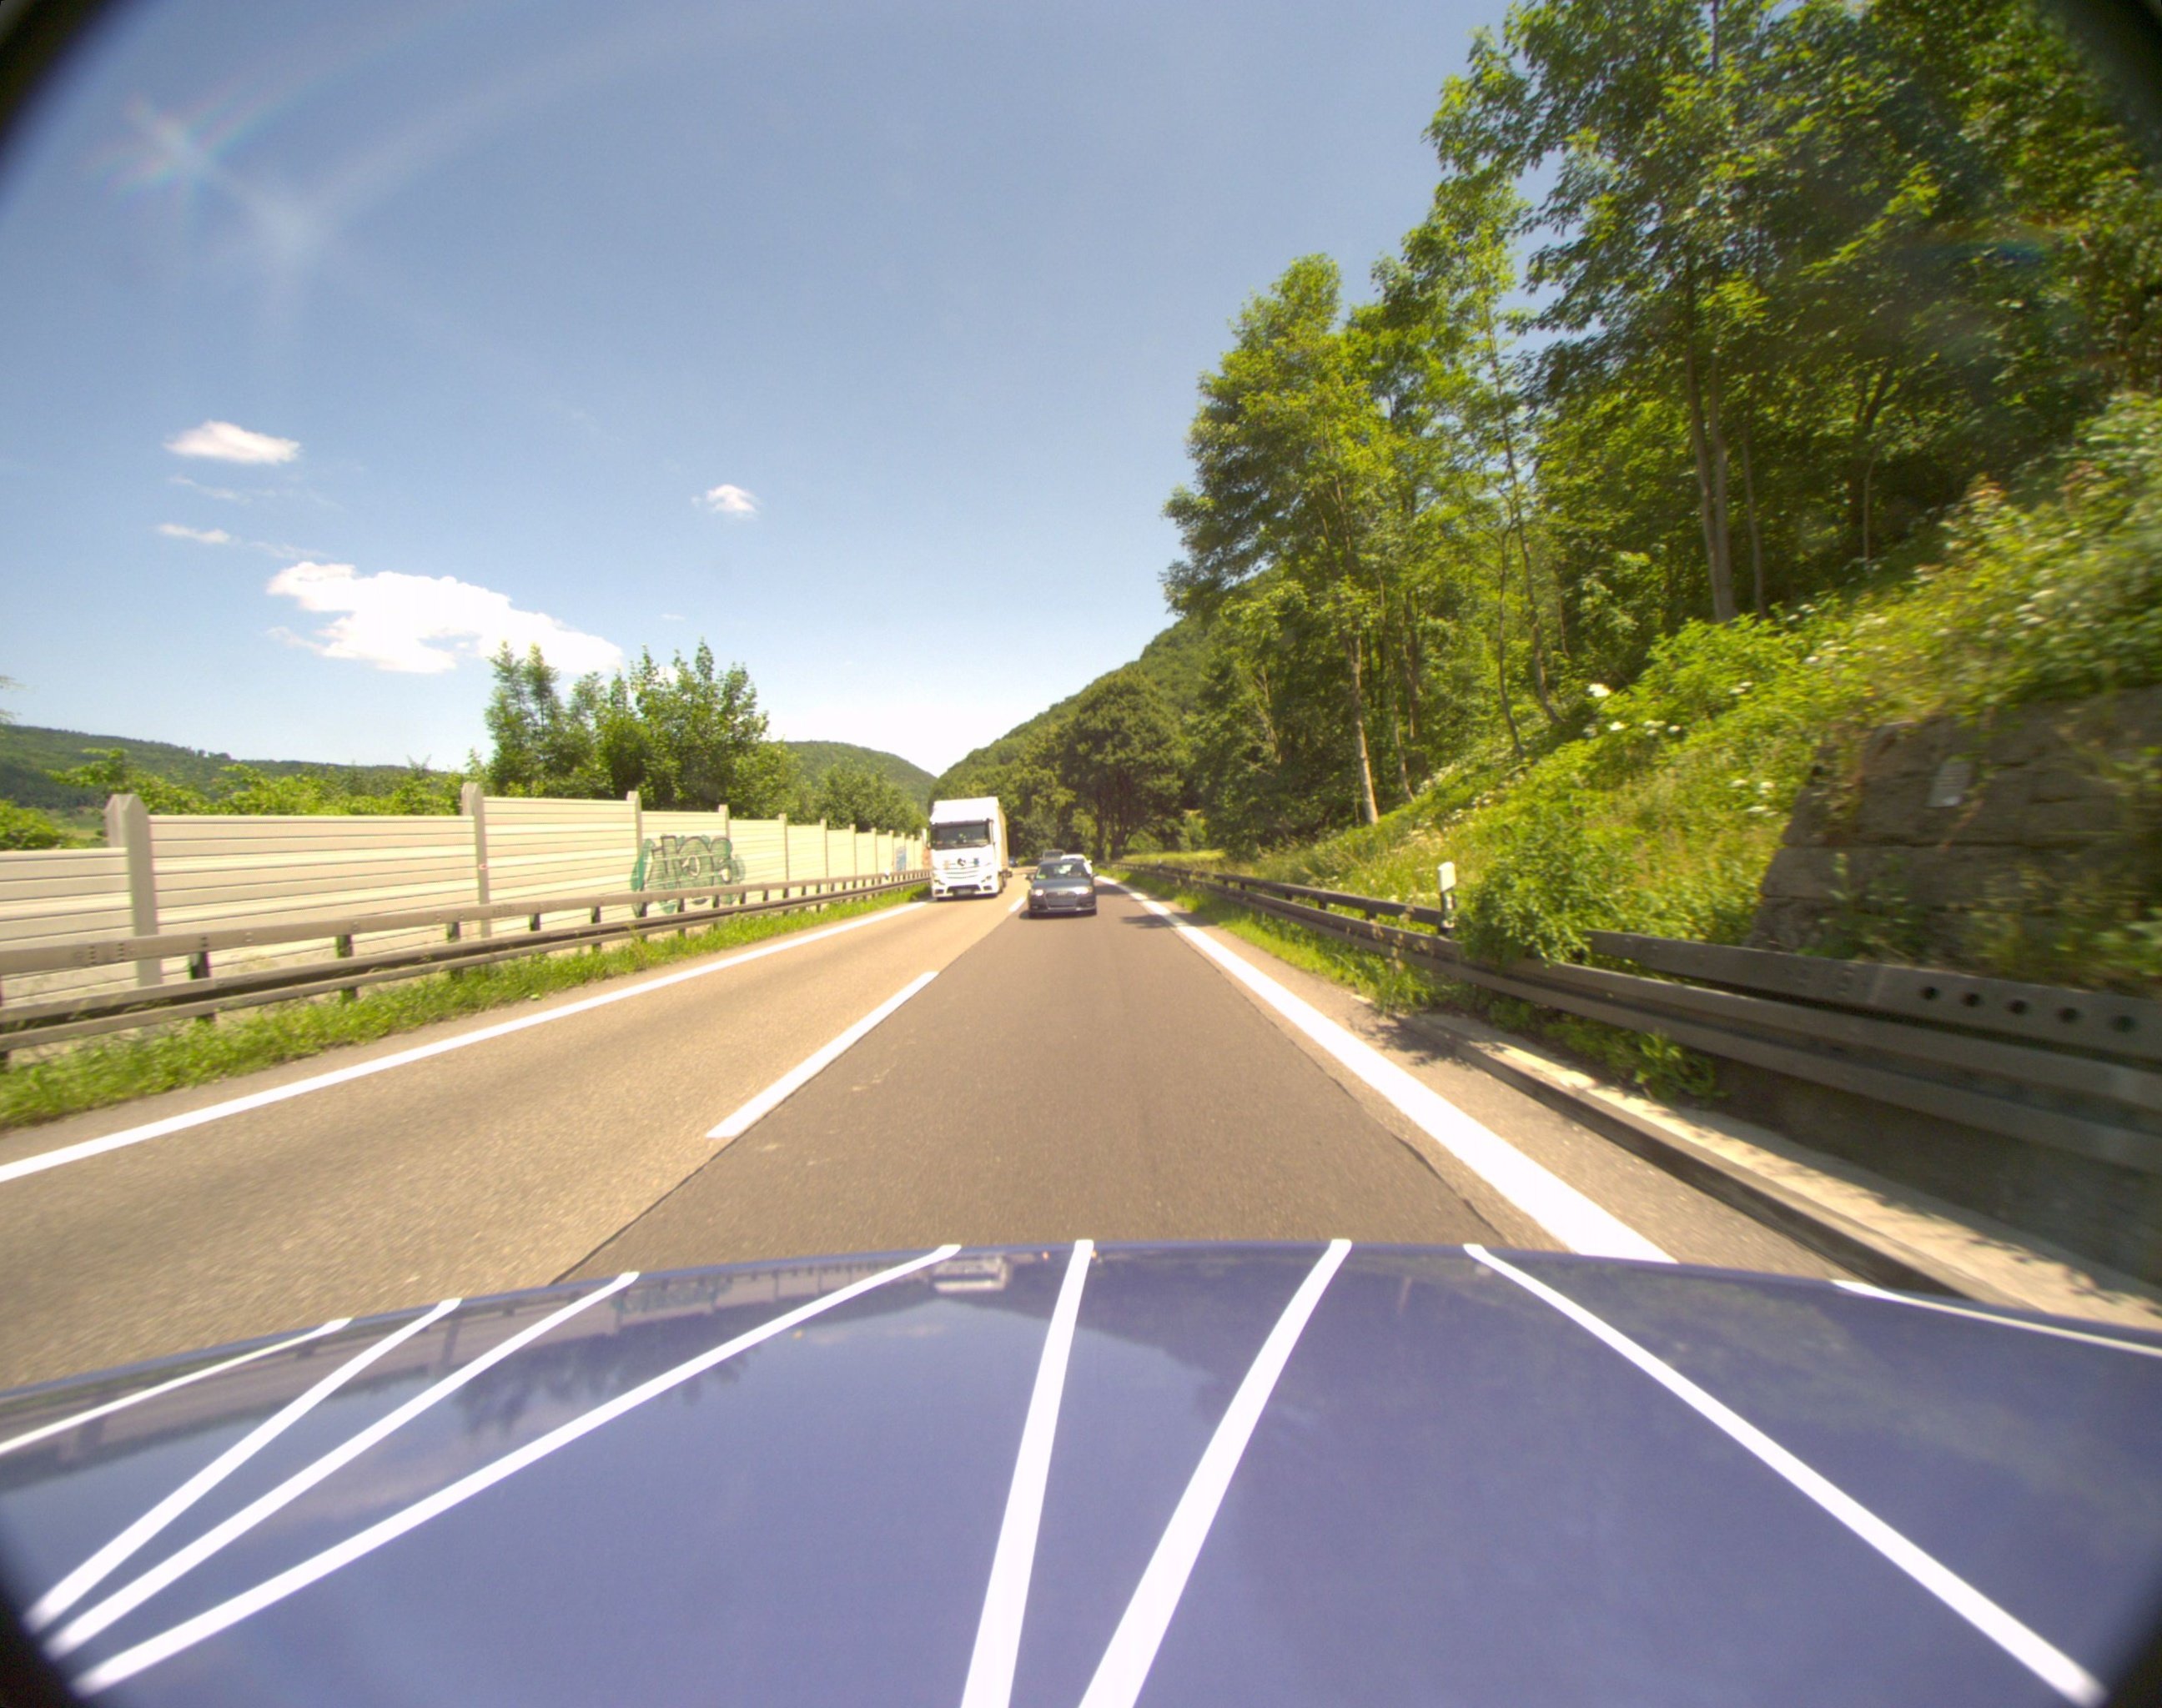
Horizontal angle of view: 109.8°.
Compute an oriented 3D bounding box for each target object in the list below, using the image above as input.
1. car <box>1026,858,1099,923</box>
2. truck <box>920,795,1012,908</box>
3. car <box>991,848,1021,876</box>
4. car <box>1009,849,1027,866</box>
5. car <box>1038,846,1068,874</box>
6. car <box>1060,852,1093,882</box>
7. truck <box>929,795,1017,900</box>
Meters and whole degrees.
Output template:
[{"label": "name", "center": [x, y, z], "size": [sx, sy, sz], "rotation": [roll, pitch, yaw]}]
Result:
[{"label": "car", "center": [-0.459, 0.870, 19.612], "size": [1.662, 1.435, 3.474], "rotation": [-2, 0, -1]}, {"label": "truck", "center": [-4.639, -0.177, 32.065], "size": [2.765, 4.016, 6.820], "rotation": [-5, 2, -2]}, {"label": "car", "center": [-5.932, 0.593, 60.131], "size": [1.999, 2.002, 3.998], "rotation": [-3, 1, -2]}, {"label": "car", "center": [-7.845, 0.467, 94.155], "size": [2.000, 2.002, 3.997], "rotation": [-2, 0, -8]}, {"label": "car", "center": [-1.989, 0.443, 55.472], "size": [2.044, 1.855, 4.000], "rotation": [-3, 0, -1]}, {"label": "car", "center": [-0.264, 0.695, 42.638], "size": [1.715, 1.541, 3.999], "rotation": [-2, 0, 0]}, {"label": "truck", "center": [-4.894, -0.333, 36.909], "size": [2.862, 4.124, 12.042], "rotation": [-3, 1, -3]}]
